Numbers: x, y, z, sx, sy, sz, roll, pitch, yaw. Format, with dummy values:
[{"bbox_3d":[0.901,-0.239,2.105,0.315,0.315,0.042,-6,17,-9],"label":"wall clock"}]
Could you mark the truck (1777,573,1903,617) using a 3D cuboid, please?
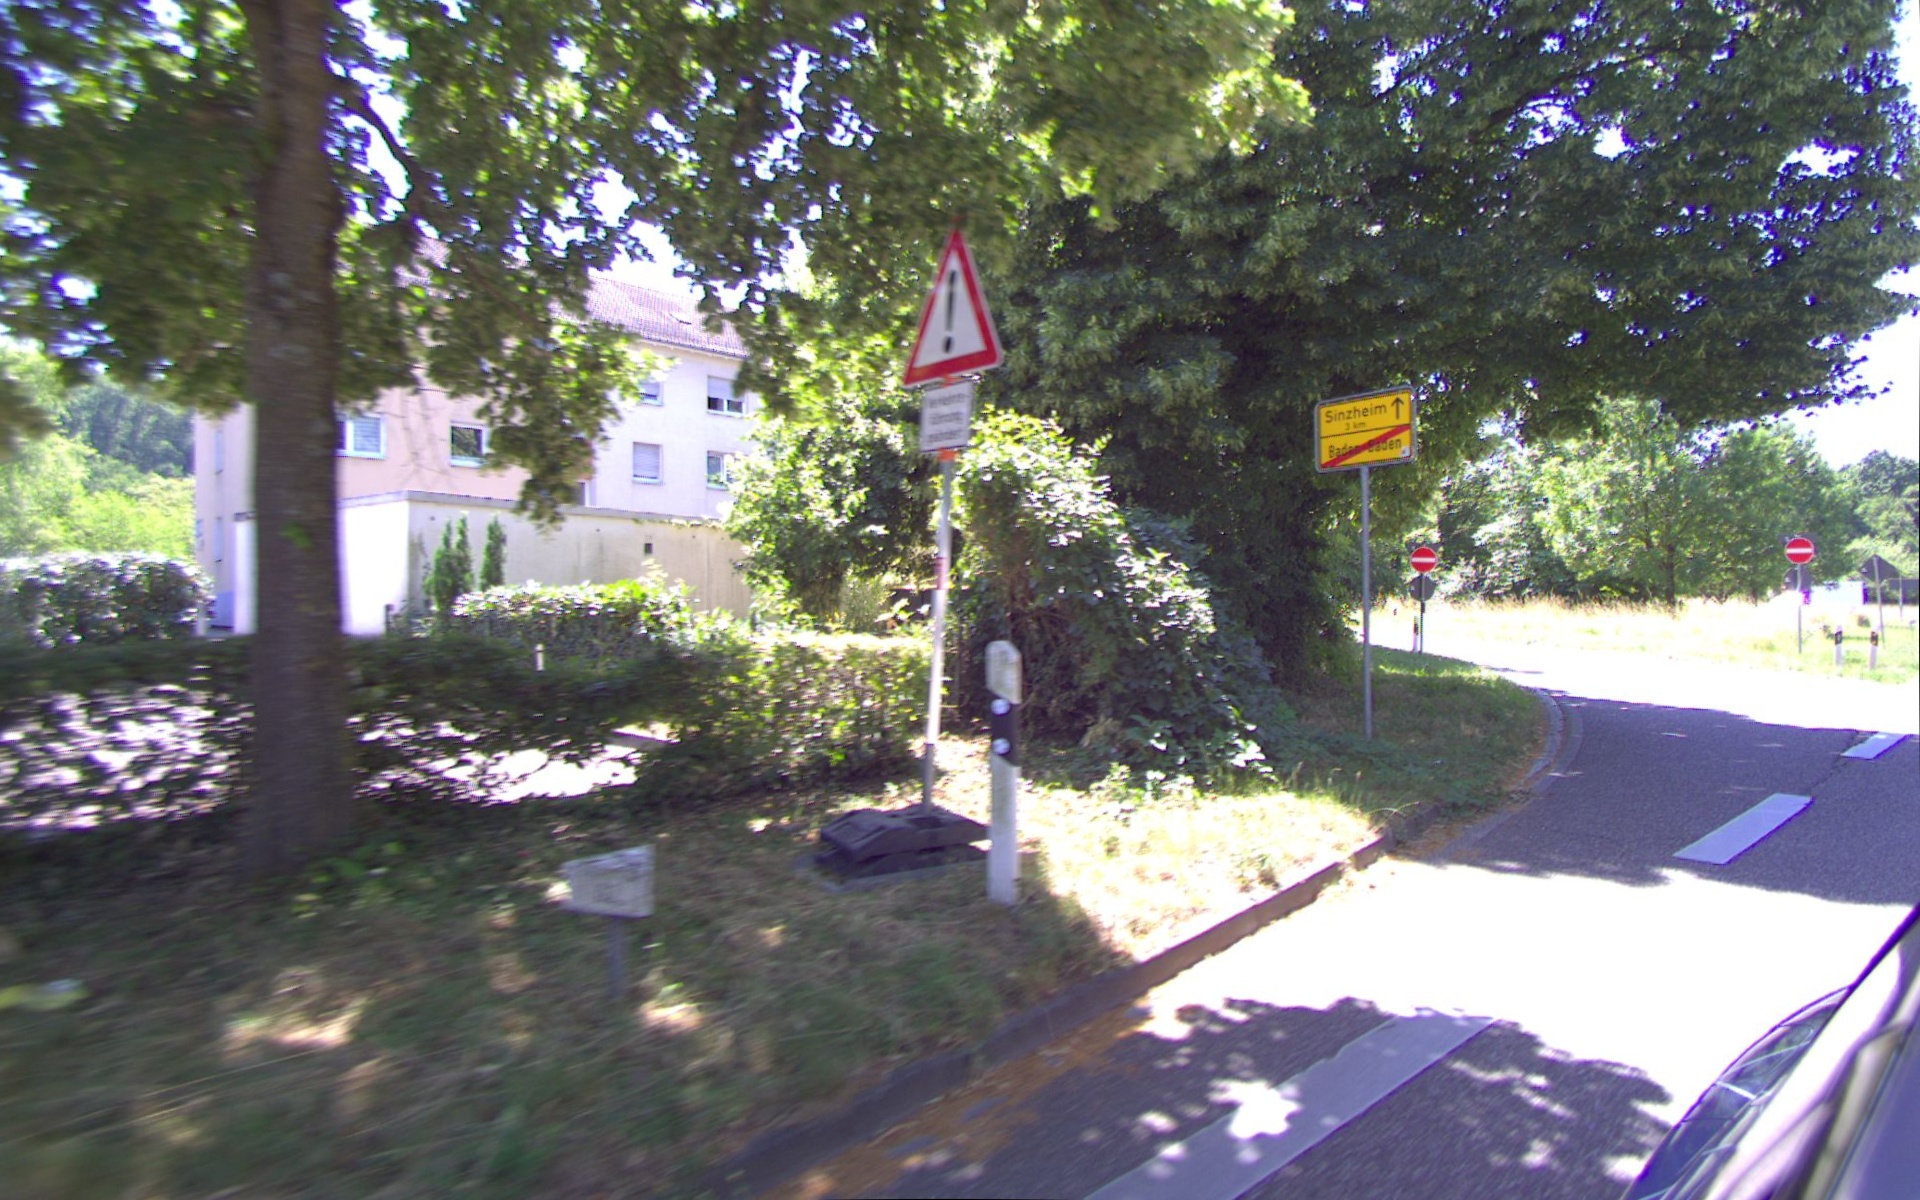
[{"bbox_3d":[60.928,-0.336,70.135,6.834,2.980,2.462,0,0,-5],"label":"truck"}]
